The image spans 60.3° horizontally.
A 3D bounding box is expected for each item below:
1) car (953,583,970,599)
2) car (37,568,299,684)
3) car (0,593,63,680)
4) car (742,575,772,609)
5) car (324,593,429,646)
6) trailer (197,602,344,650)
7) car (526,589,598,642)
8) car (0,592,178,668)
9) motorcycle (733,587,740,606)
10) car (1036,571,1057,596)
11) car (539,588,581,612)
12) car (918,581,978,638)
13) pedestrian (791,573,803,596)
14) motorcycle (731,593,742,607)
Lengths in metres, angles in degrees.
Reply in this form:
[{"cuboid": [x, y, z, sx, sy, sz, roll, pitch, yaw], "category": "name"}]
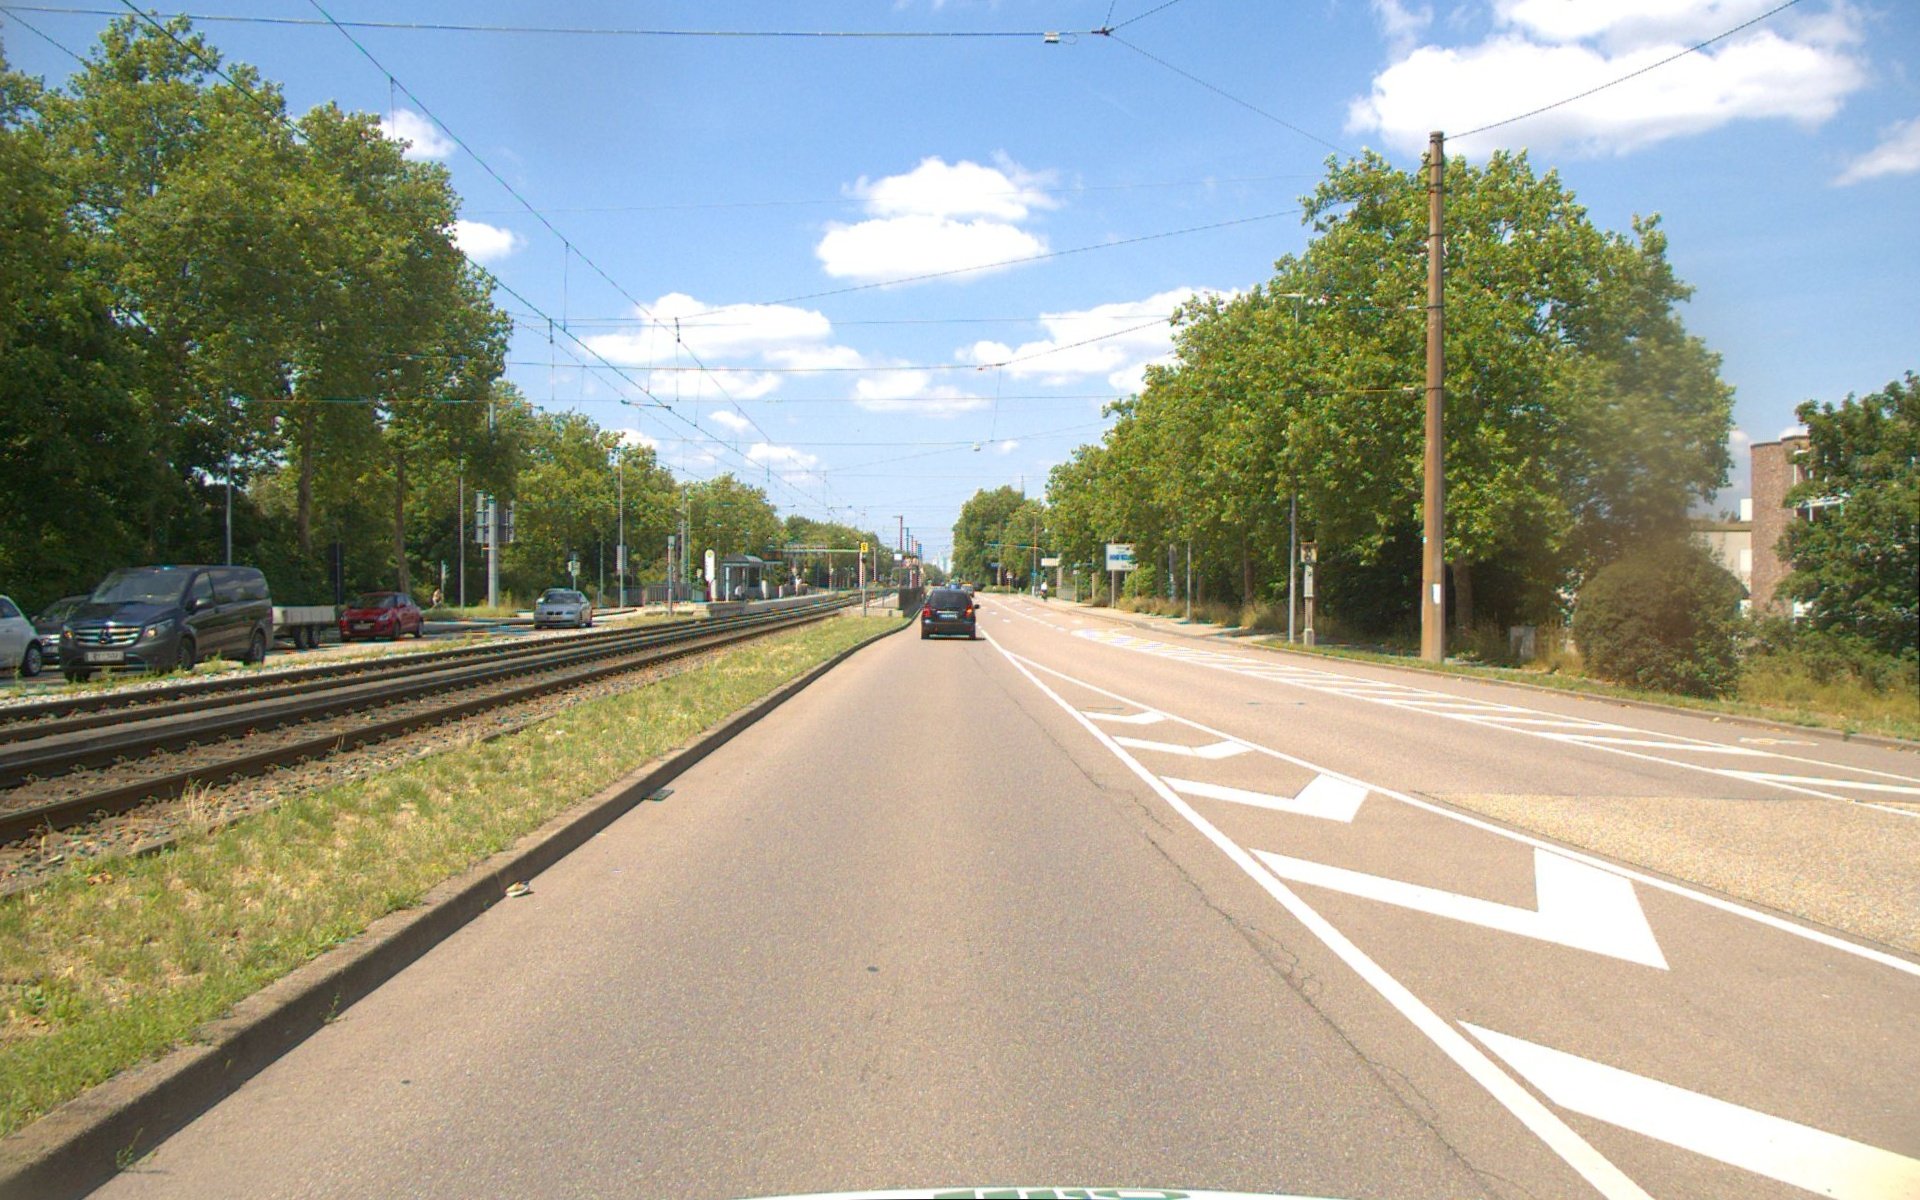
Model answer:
[{"cuboid": [0.182, -1.114, 193.513, 1.846, 1.668, 4.001, 4, 1, 0], "category": "car"}, {"cuboid": [-13.656, 0.392, 28.970, 2.074, 1.821, 5.404, 1, 0, -1], "category": "car"}, {"cuboid": [-17.296, 0.634, 28.806, 1.405, 1.476, 3.739, 1, 0, -2], "category": "car"}, {"cuboid": [-13.214, -0.538, 108.057, 1.553, 2.048, 4.109, 1, 2, -2], "category": "car"}, {"cuboid": [-18.439, 0.591, 52.467, 1.953, 1.601, 3.999, 1, 0, -1], "category": "car"}, {"cuboid": [-18.008, 0.643, 43.474, 1.854, 1.062, 5.102, 1, 1, -2], "category": "trailer"}, {"cuboid": [-15.808, 0.582, 65.830, 1.953, 2.049, 3.999, 1, 0, -1], "category": "car"}, {"cuboid": [-17.854, 0.561, 33.771, 1.833, 1.425, 4.416, 1, 0, -3], "category": "car"}, {"cuboid": [-14.323, -0.228, 105.959, 0.277, 1.194, 0.391, 1, 0, 30], "category": "motorcycle"}, {"cuboid": [7.686, -1.461, 146.582, 1.580, 2.048, 3.439, 1, 2, -1], "category": "car"}, {"cuboid": [-27.561, -0.018, 114.112, 1.953, 1.601, 4.000, 1, 0, 0], "category": "car"}, {"cuboid": [-0.359, 0.281, 53.470, 1.815, 1.597, 4.389, 1, 2, 0], "category": "car"}, {"cuboid": [-14.279, -1.360, 145.246, 0.933, 2.048, 0.892, 1, 1, -1], "category": "pedestrian"}, {"cuboid": [-14.333, 0.006, 105.943, 0.226, 0.914, 0.882, 1, 0, 30], "category": "motorcycle"}]
